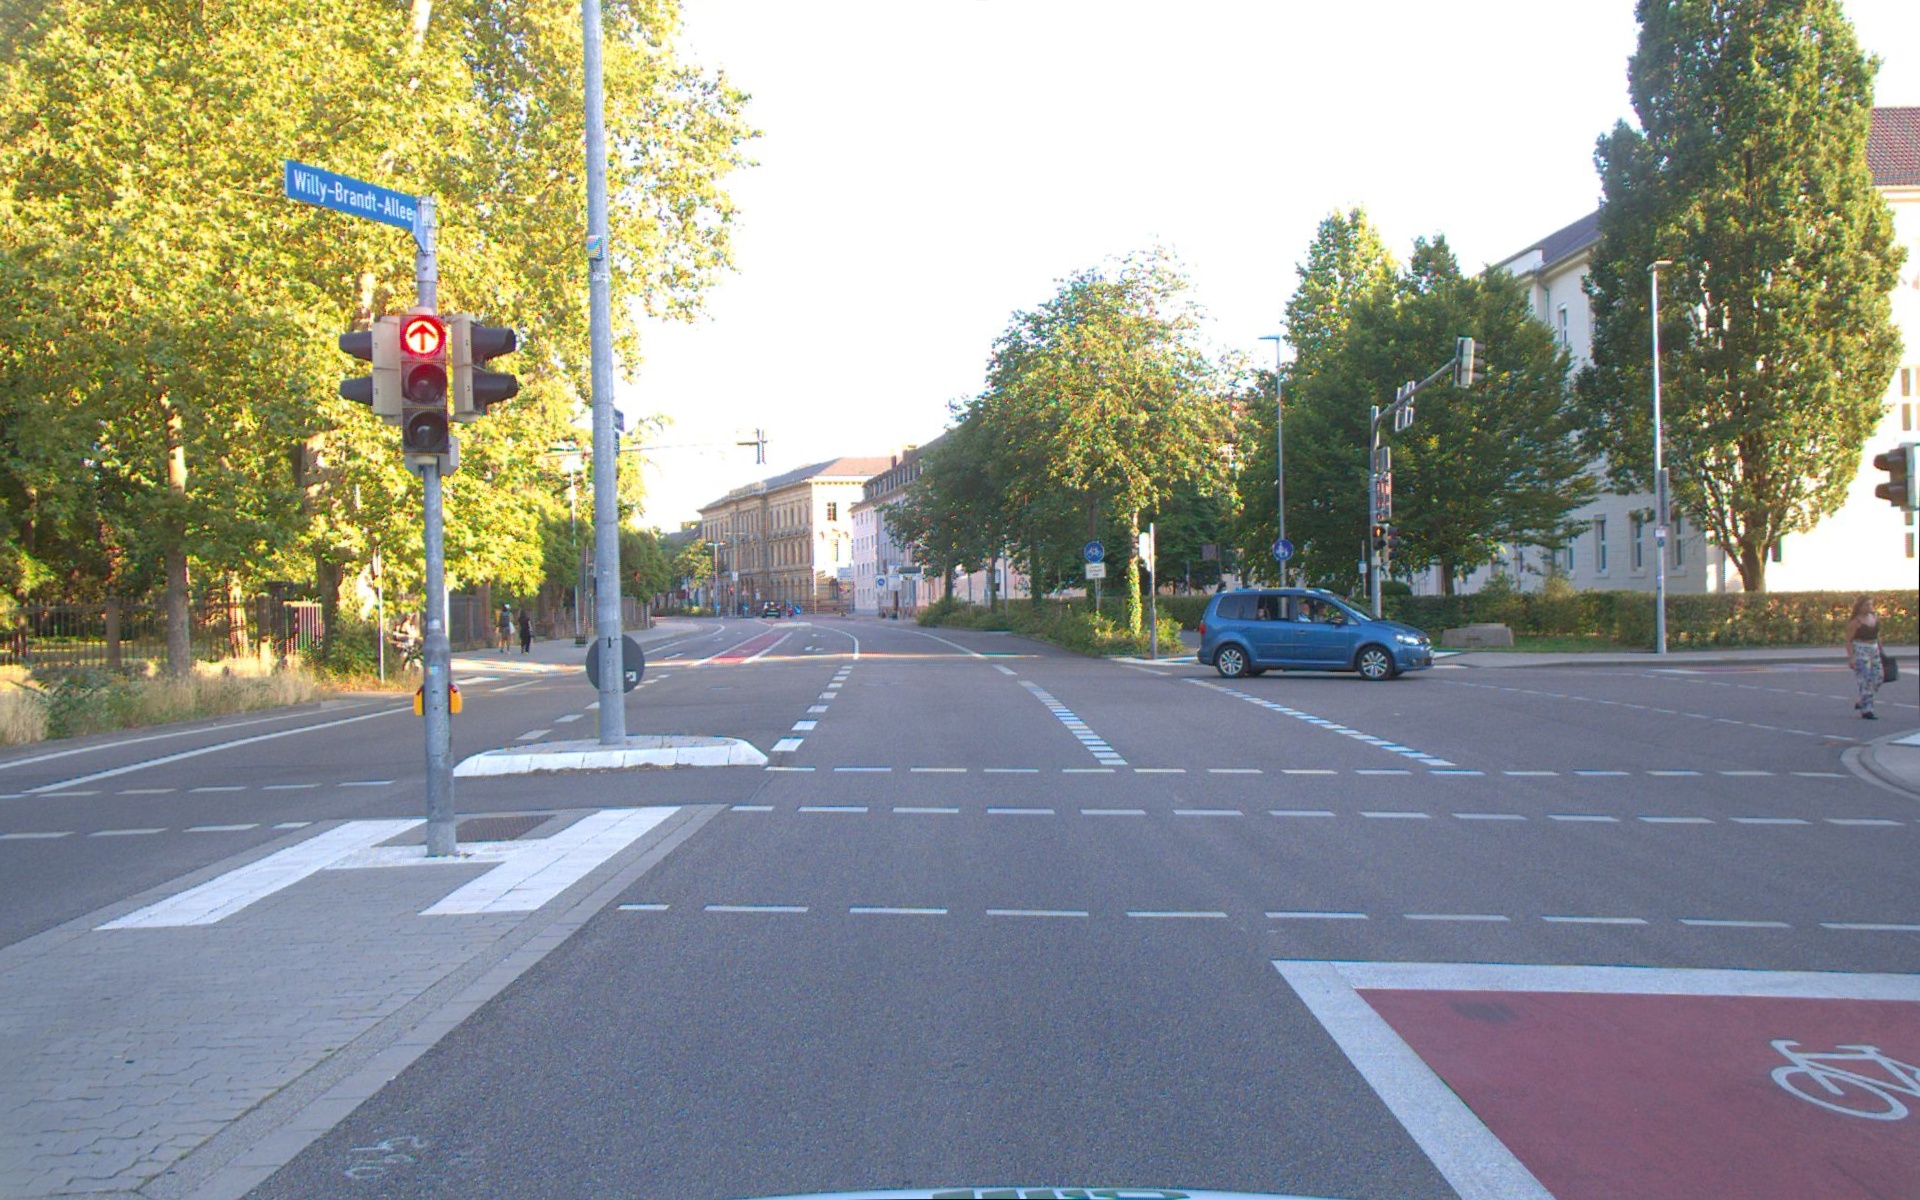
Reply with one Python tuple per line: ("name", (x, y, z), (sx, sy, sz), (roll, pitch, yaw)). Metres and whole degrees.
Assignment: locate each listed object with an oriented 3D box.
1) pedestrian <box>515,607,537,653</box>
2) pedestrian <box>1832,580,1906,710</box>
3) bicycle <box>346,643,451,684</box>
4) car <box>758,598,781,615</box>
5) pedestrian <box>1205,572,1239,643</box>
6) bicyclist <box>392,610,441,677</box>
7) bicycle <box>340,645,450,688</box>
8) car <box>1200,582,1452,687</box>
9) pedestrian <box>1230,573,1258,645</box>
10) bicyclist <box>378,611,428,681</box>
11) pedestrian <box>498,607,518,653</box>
("pedestrian", (-15.461, 1.056, 58.932), (0.587, 1.601, 0.646), (-1, 0, -1))
("pedestrian", (11.853, 0.572, 21.585), (0.587, 1.664, 0.691), (0, 0, -1))
("bicycle", (-14.225, 1.612, 41.926), (2.380, 0.940, 0.775), (-1, 0, 0))
("car", (-19.504, 0.683, 169.402), (1.789, 1.616, 3.984), (-2, 0, -15))
("pedestrian", (7.587, 0.221, 47.893), (0.852, 2.049, 0.722), (0, 0, -1))
("bicyclist", (-13.775, 1.102, 41.929), (0.938, 1.659, 0.752), (-1, 0, 0))
("bicycle", (-13.666, 1.603, 40.038), (2.380, 0.940, 0.775), (-1, 0, 0))
("car", (6.752, 0.613, 30.554), (4.198, 1.750, 1.854), (-1, 2, 27))
("pedestrian", (8.092, 0.252, 47.169), (0.622, 2.049, 0.720), (0, 0, -5))
("bicyclist", (-13.488, 1.101, 40.062), (0.938, 1.659, 0.752), (-1, 0, 0))
("pedestrian", (-16.090, 1.053, 58.920), (0.524, 1.624, 0.590), (-1, 0, -1))
